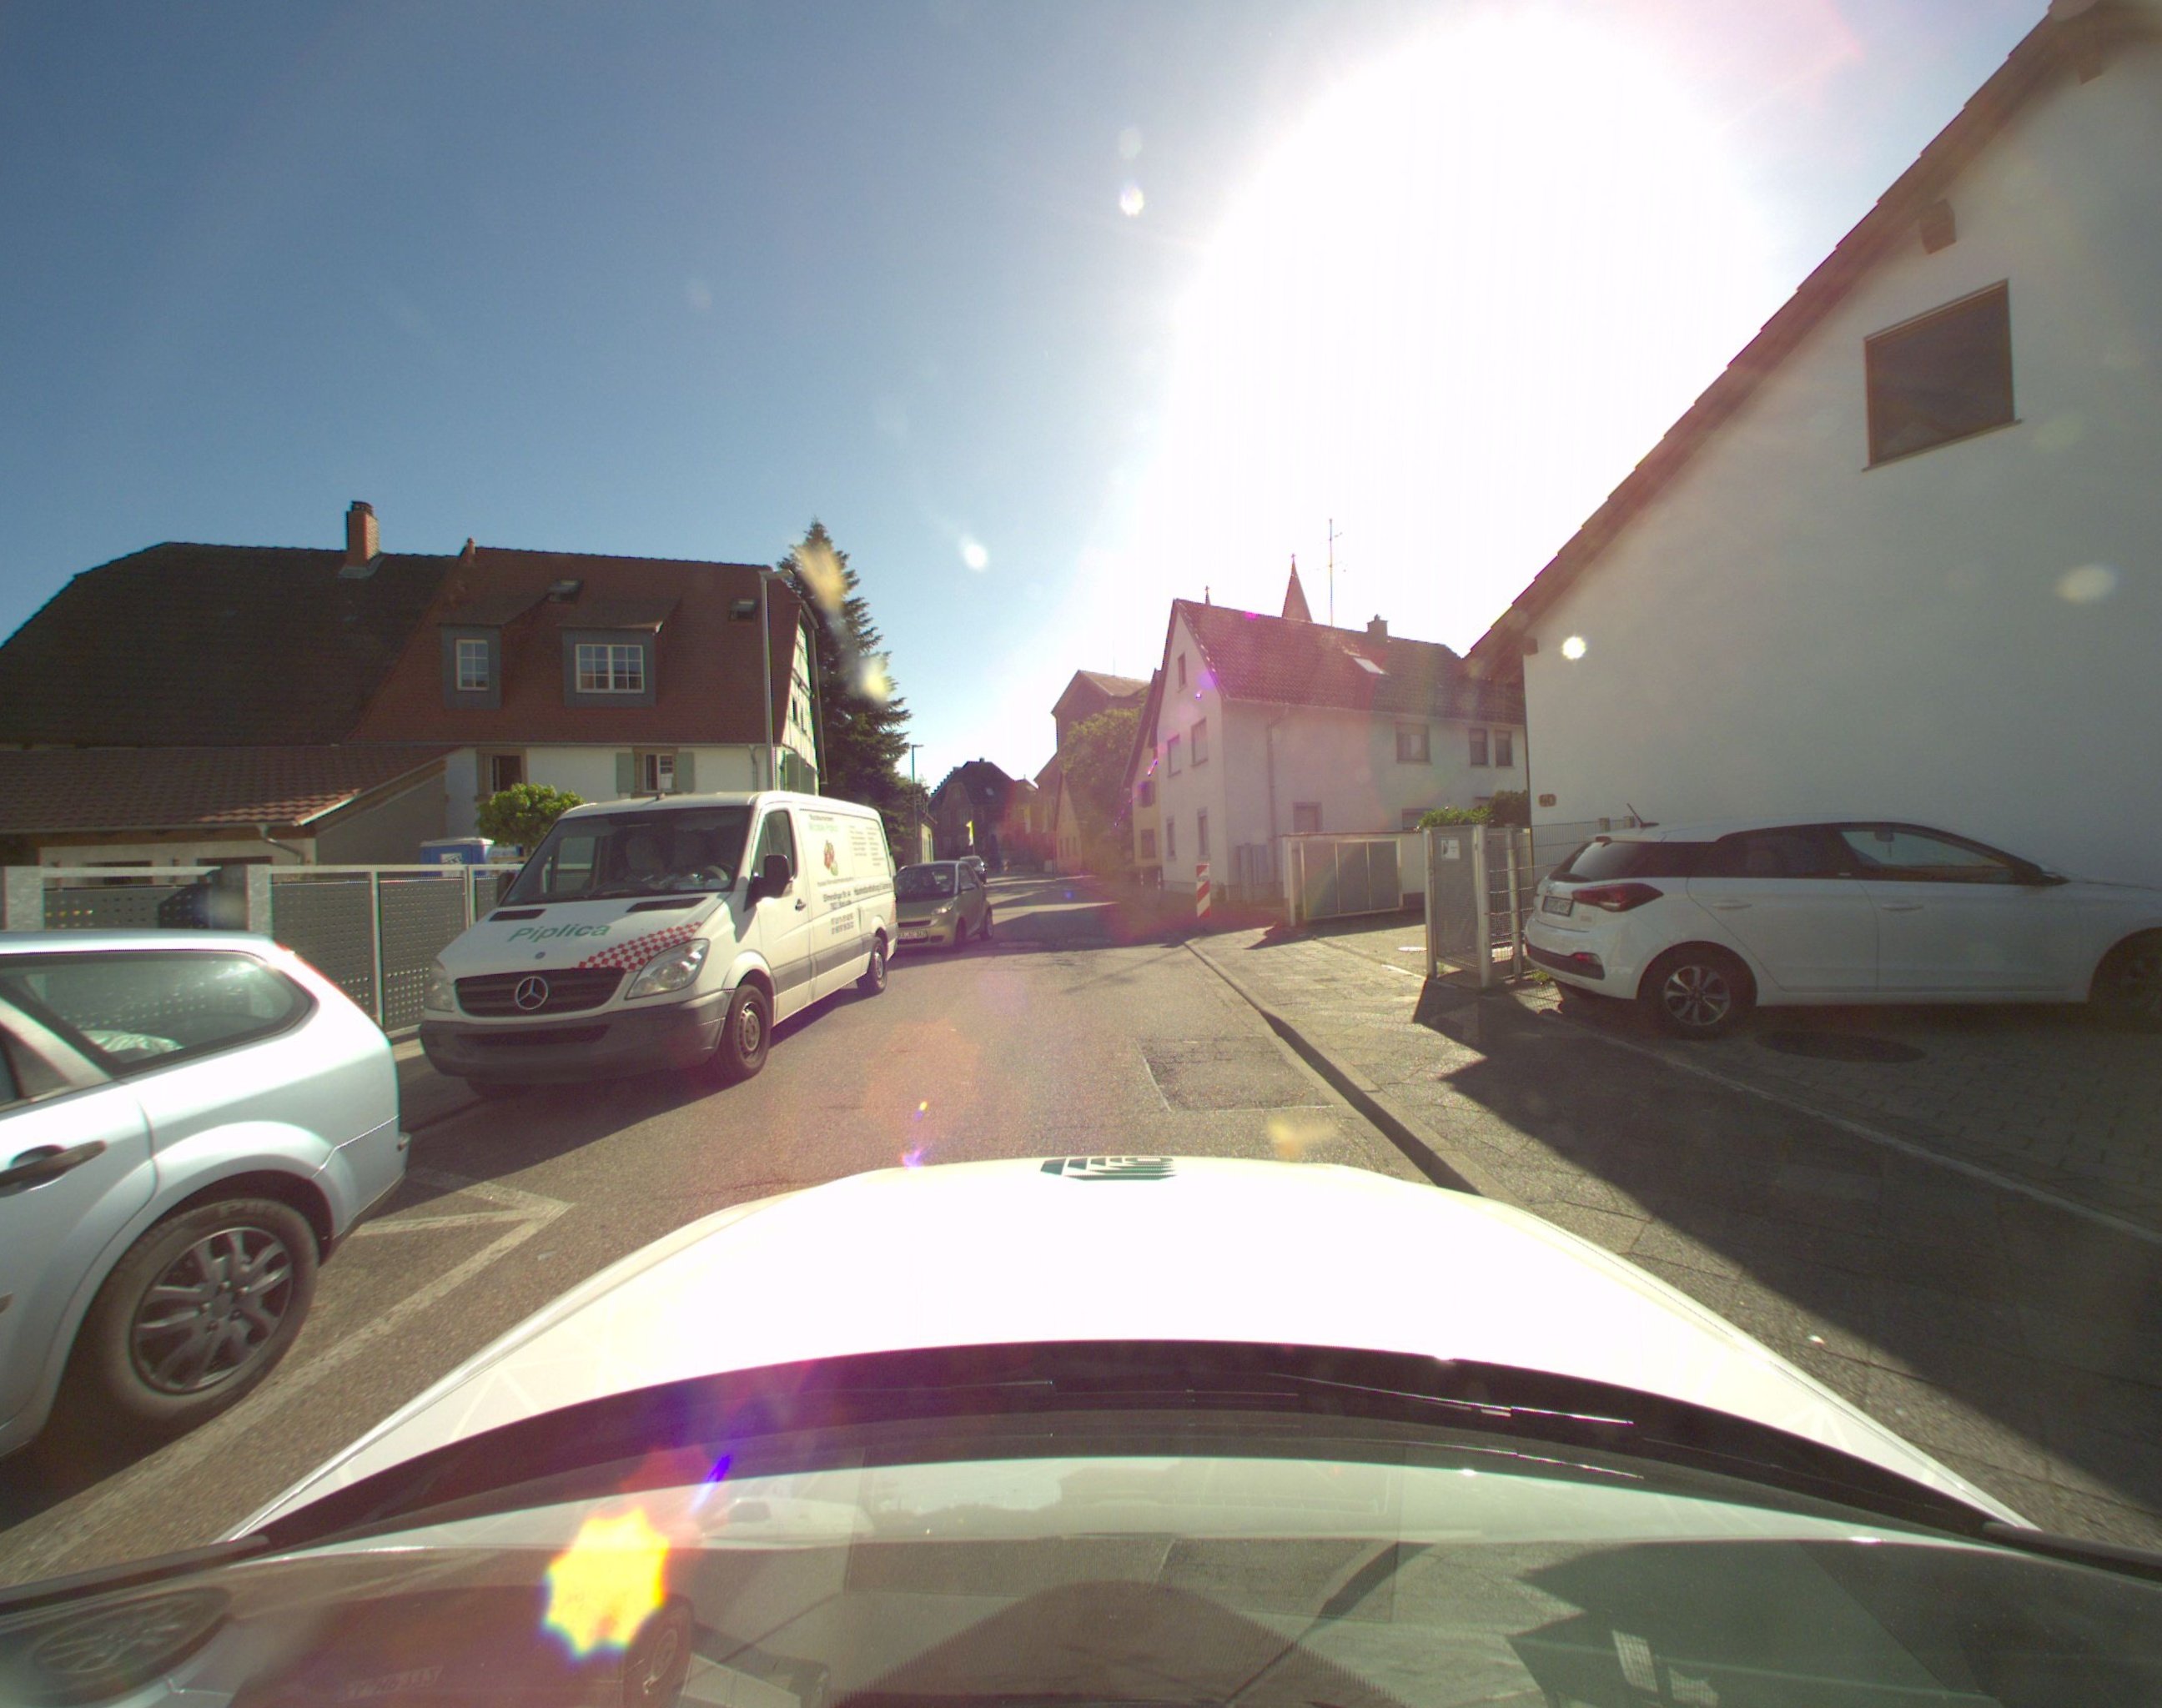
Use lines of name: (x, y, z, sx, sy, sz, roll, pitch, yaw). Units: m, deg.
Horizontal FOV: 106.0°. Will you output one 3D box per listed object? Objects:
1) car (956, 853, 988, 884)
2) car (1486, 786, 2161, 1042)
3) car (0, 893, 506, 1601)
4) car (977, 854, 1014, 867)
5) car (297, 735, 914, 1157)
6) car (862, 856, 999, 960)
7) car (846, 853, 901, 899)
car: (-7.241, 0.941, 53.920, 1.826, 1.814, 4.188, -5, 1, -10)
car: (5.468, 0.403, 6.151, 3.888, 1.492, 1.852, -4, 0, 9)
car: (-3.338, 0.988, 1.269, 1.705, 1.504, 4.236, -4, 0, 1)
car: (-10.595, 0.773, 101.240, 4.270, 1.400, 1.698, -3, 0, -40)
car: (-3.512, 0.535, 7.984, 2.189, 2.389, 6.066, -5, 0, 1)
car: (-2.569, 0.873, 14.567, 1.566, 1.546, 2.970, -3, 0, 5)
car: (-10.133, 1.013, 40.110, 1.939, 1.955, 5.128, -3, 1, -8)
